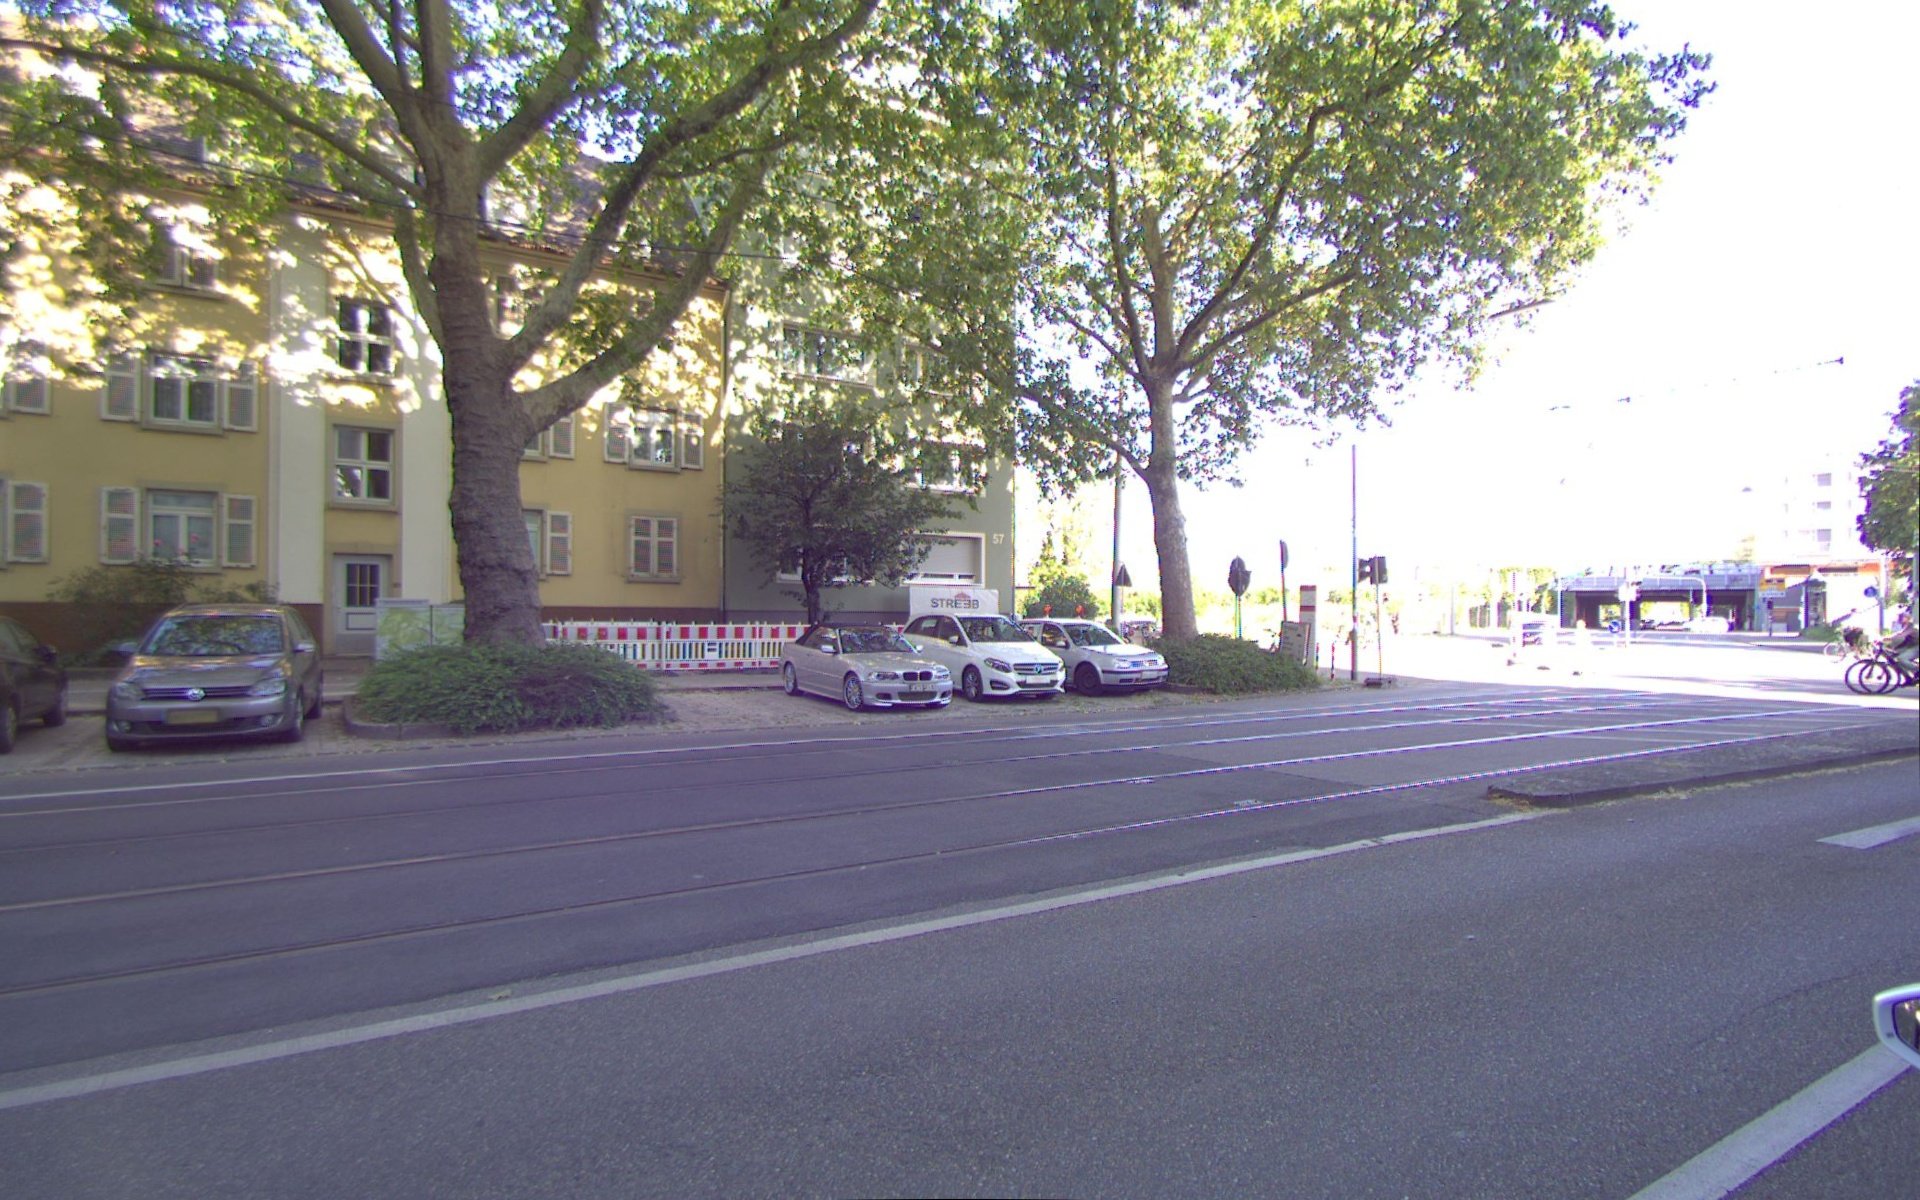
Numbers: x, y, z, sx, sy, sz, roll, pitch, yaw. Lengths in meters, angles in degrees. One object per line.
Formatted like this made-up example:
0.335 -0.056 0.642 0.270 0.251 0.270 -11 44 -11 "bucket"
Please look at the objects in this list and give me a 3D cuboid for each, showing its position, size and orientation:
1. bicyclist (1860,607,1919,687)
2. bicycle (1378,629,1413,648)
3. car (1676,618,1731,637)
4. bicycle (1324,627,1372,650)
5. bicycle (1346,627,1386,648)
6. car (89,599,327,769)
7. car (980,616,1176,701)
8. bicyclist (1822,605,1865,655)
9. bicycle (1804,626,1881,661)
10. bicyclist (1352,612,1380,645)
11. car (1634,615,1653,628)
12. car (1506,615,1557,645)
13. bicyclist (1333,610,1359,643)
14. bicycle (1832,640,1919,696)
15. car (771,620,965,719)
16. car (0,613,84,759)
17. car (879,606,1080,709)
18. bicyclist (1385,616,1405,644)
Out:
18.563 0.913 19.836 1.099 1.540 0.918 0 -1 38 "bicyclist"
24.608 2.156 56.747 2.014 1.075 0.580 1 -1 -25 "bicycle"
72.886 2.651 98.496 4.105 1.829 1.737 0 -1 3 "car"
20.110 1.987 52.151 0.793 1.098 2.277 1 -1 -36 "bicycle"
19.748 1.825 48.907 0.662 0.997 2.057 1 -1 -18 "bicycle"
-9.039 0.863 12.428 1.793 1.627 4.169 1 1 -29 "car"
2.298 1.111 20.826 1.656 1.448 4.490 1 0 -30 "car"
29.220 0.992 33.243 0.637 1.616 0.863 0 -1 -8 "bicyclist"
29.203 1.428 33.277 0.581 1.108 2.059 0 -1 -8 "bicycle"
19.768 1.379 48.902 0.786 1.591 1.009 0 -1 -18 "bicyclist"
99.997 3.171 146.969 2.183 1.847 4.134 0 -1 34 "car"
32.428 1.678 56.944 1.803 1.539 3.876 2 1 40 "car"
20.081 1.379 52.240 0.867 1.730 0.920 1 -1 -36 "bicyclist"
18.671 1.346 19.813 2.163 1.047 0.831 0 -1 38 "bicycle"
-1.731 1.097 17.437 1.708 1.386 4.219 1 0 -31 "car"
-11.396 0.884 11.299 1.723 1.448 3.545 1 0 -31 "car"
0.219 0.996 19.481 1.777 1.640 4.587 1 1 -30 "car"
24.581 1.700 56.743 0.821 1.584 0.633 1 -1 -25 "bicyclist"
